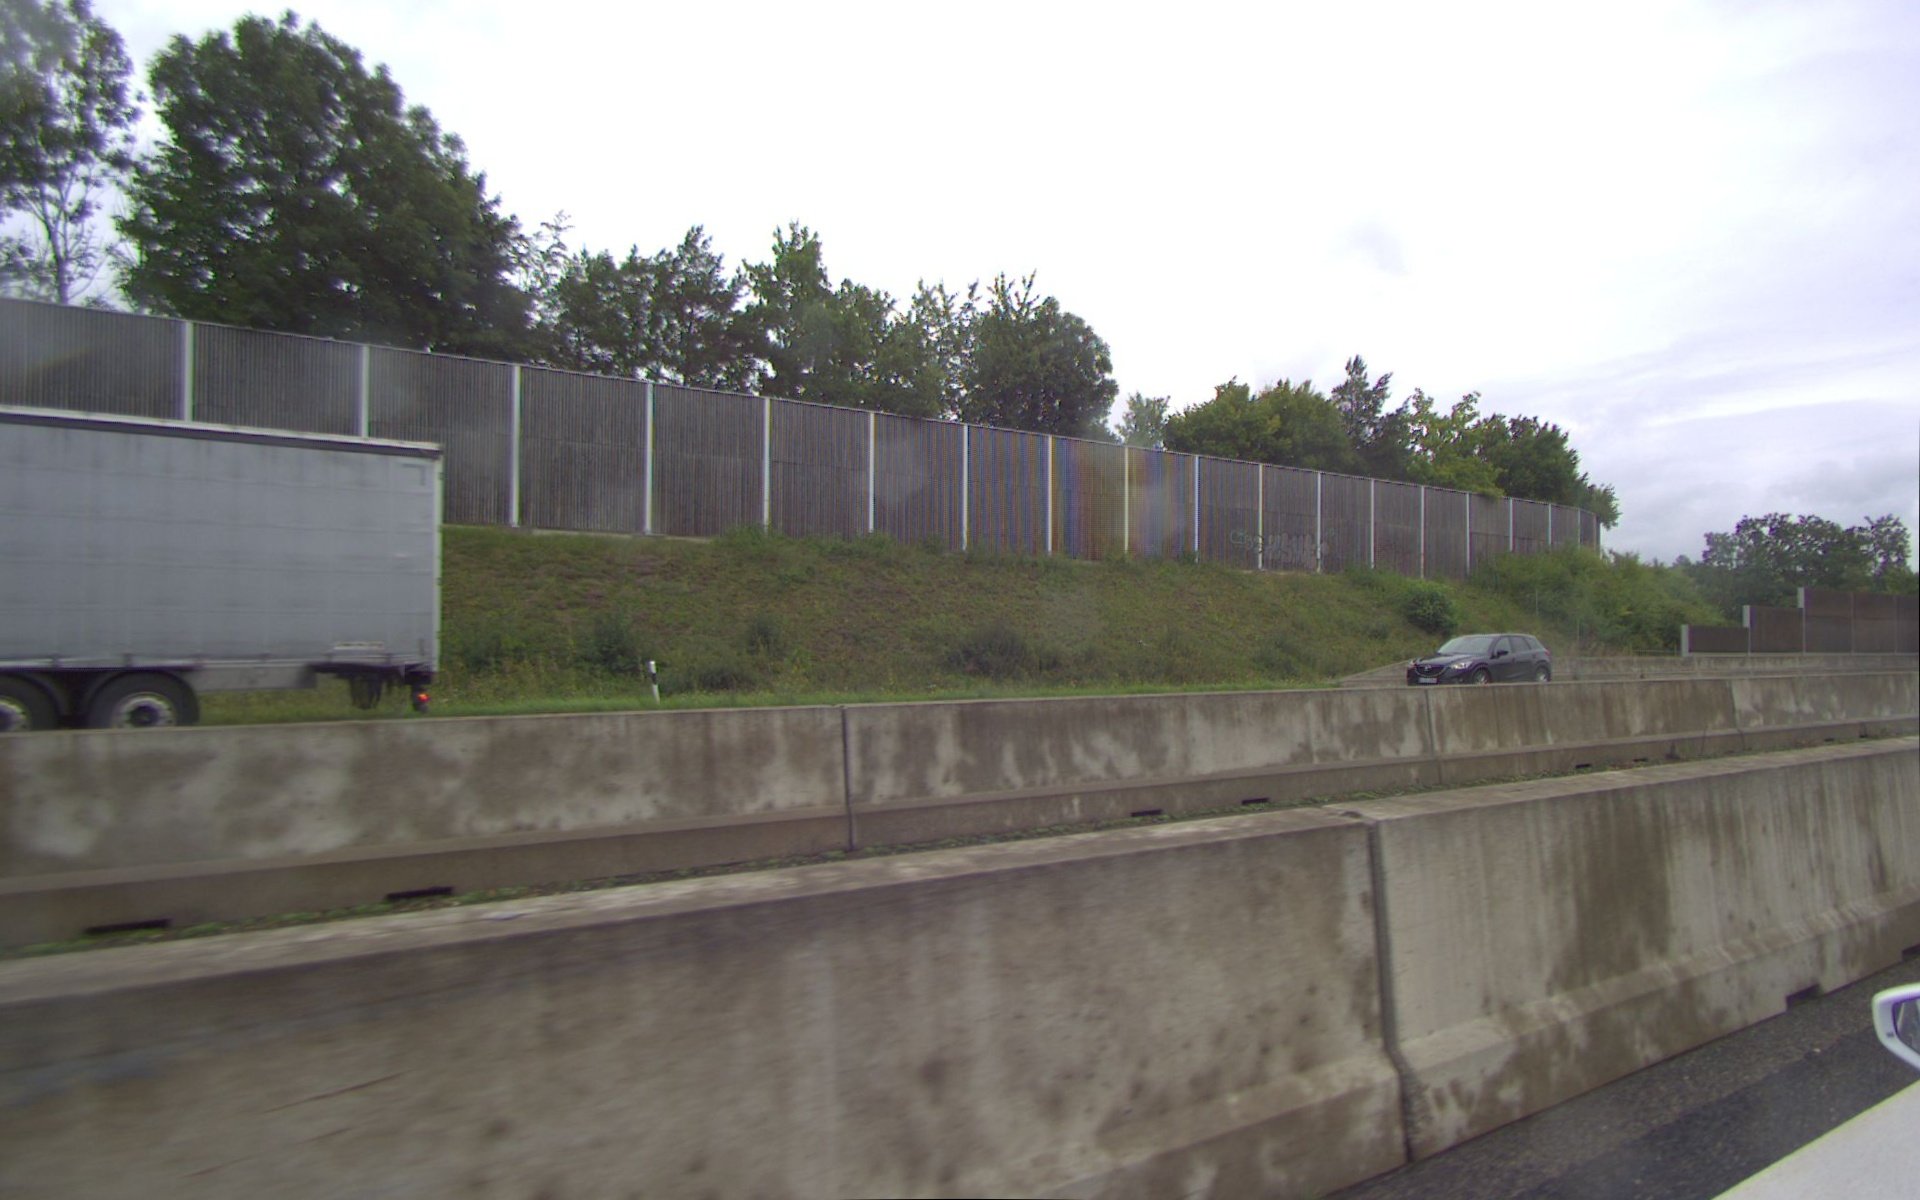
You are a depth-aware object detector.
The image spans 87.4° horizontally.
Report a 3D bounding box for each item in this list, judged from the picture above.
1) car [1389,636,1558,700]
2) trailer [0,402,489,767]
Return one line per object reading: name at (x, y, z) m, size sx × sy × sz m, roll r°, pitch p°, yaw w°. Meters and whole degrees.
car at (13.745, 1.774, 26.840) m, size 4.429 × 1.557 × 1.984 m, roll 2°, pitch -2°, yaw -30°
trailer at (-12.328, -0.125, 11.564) m, size 12.298 × 3.986 × 2.890 m, roll 1°, pitch -4°, yaw -31°
